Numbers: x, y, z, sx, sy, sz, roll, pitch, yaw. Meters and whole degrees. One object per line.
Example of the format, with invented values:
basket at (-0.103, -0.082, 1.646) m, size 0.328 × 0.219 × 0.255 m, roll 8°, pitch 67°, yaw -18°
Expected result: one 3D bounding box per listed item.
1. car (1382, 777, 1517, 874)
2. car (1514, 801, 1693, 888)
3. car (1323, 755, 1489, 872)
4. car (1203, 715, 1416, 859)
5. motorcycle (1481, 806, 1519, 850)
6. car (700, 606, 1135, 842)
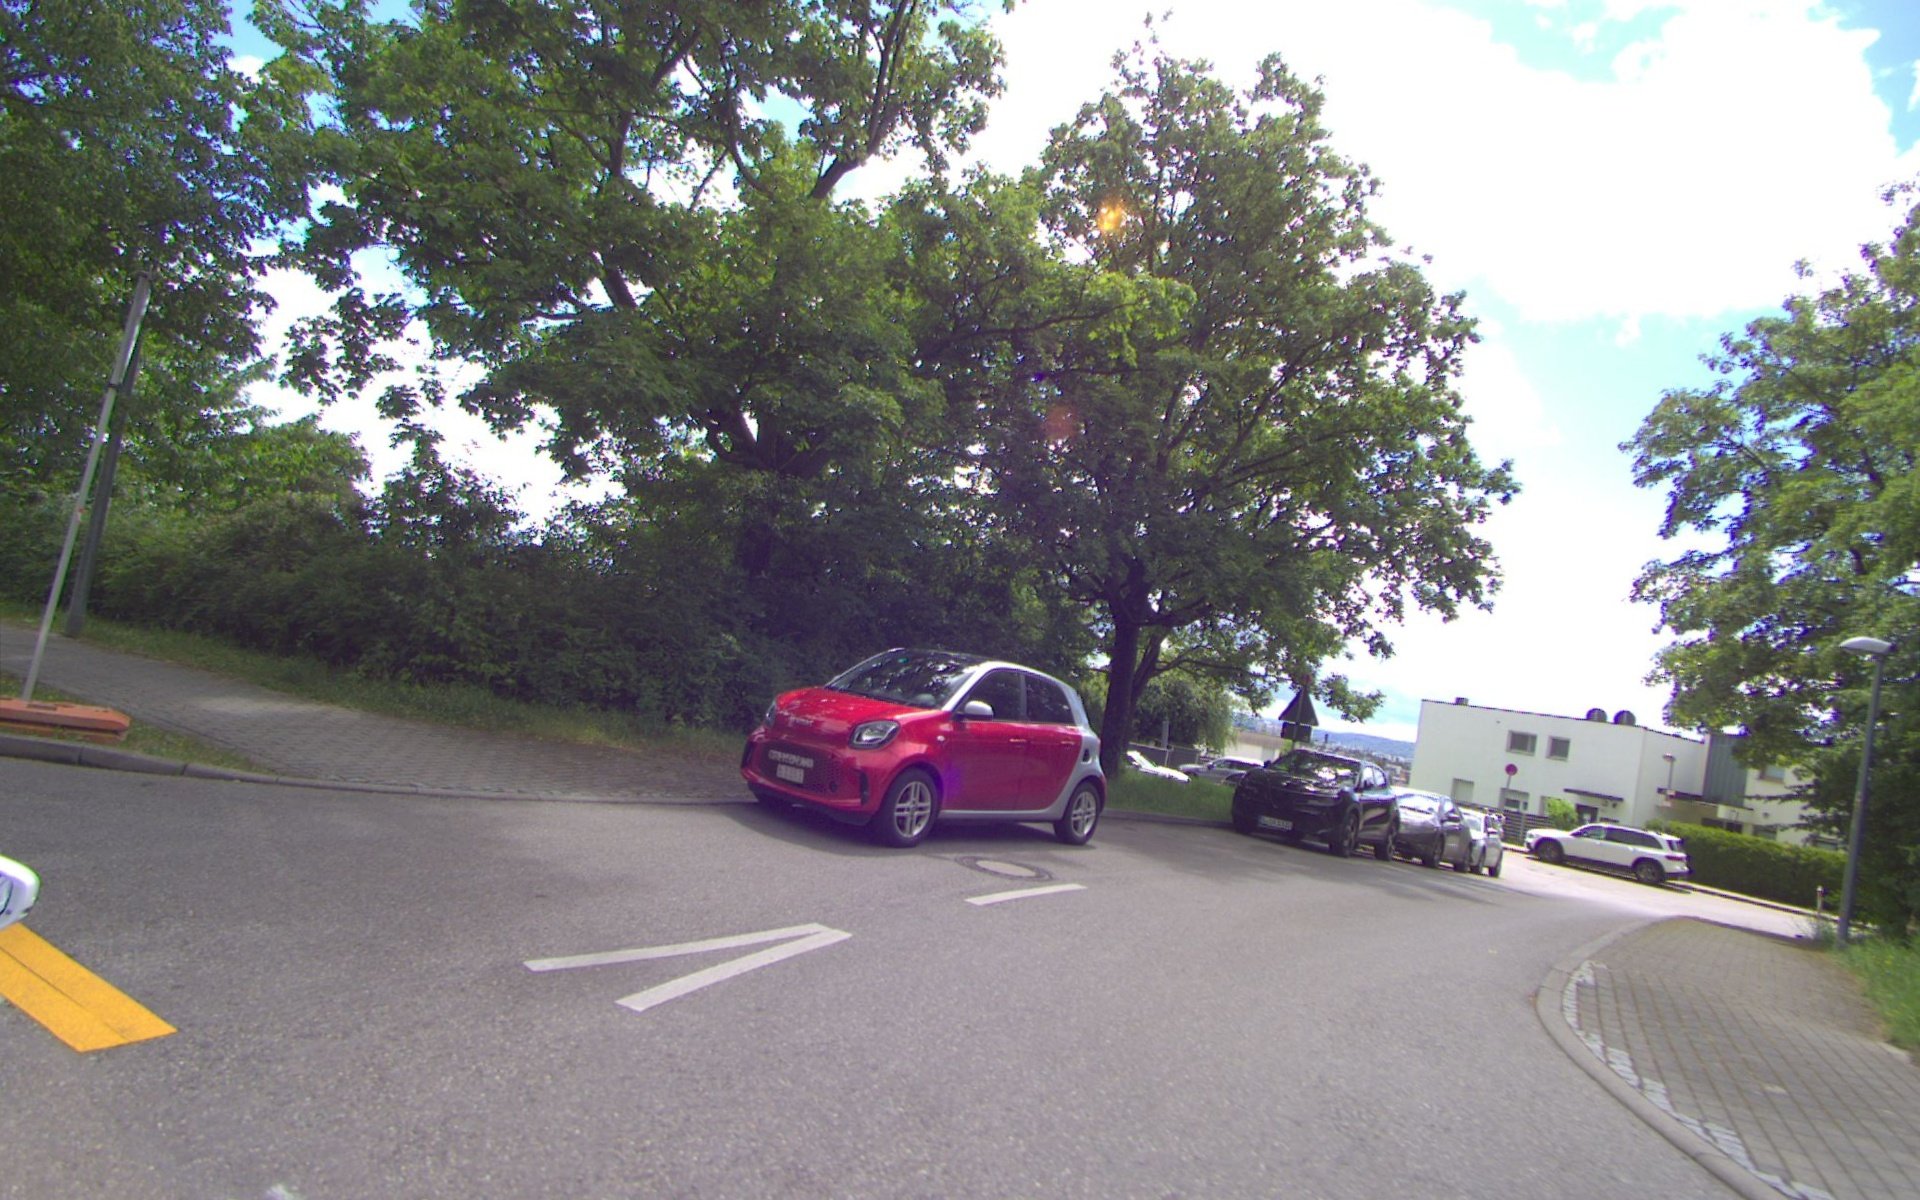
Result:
car at (11.622, 5.368, 23.765) m, size 1.970 × 1.608 × 4.002 m, roll 7°, pitch -9°, yaw 38°
car at (21.361, 8.094, 33.493) m, size 4.630 × 1.751 × 1.997 m, roll 6°, pitch -8°, yaw 42°
car at (8.879, 4.256, 19.827) m, size 1.970 × 1.608 × 4.002 m, roll 7°, pitch -9°, yaw 38°
car at (5.803, 3.103, 16.382) m, size 1.970 × 1.608 × 4.002 m, roll 7°, pitch -9°, yaw 38°
motorcycle at (19.568, 8.219, 36.424) m, size 0.829 × 1.316 × 2.984 m, roll 4°, pitch -5°, yaw 34°
car at (-0.208, 1.177, 8.939) m, size 1.757 × 1.495 × 3.540 m, roll 7°, pitch -5°, yaw 41°
